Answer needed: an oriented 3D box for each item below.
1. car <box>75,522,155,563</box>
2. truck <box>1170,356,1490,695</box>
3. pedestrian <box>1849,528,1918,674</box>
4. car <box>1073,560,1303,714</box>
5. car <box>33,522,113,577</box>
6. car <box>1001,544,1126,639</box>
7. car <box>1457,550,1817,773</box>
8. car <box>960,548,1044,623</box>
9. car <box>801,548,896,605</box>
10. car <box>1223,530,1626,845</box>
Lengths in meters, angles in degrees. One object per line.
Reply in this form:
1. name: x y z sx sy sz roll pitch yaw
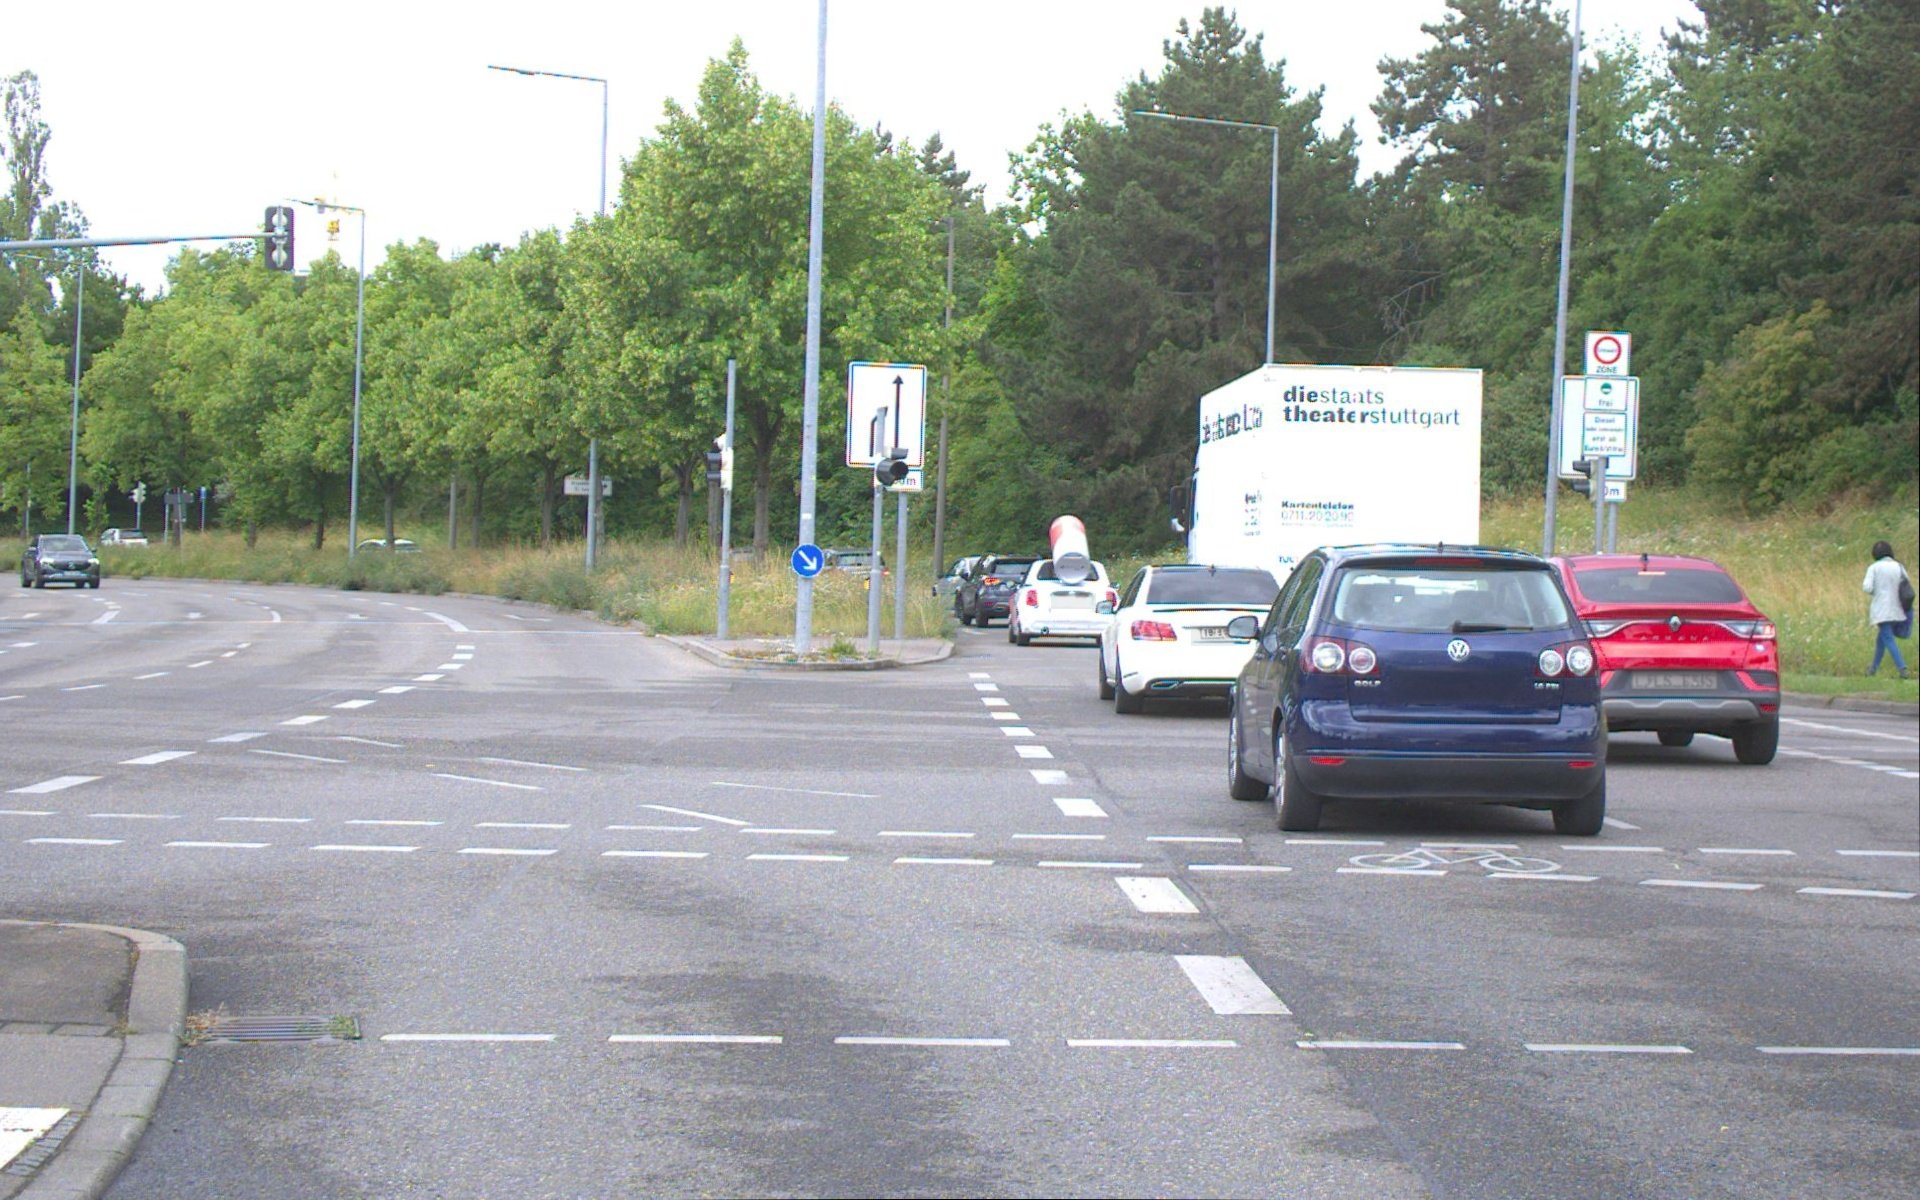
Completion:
1. car: -36.385 -2.474 148.019 1.628 1.705 3.802 0 1 -44
2. truck: 4.592 -0.984 44.896 2.802 3.890 10.183 1 1 -1
3. pedestrian: 10.588 0.010 39.425 0.644 1.656 0.713 1 0 6
4. car: 2.185 0.324 34.068 1.799 1.407 4.318 1 0 -2
5. car: -26.428 -1.511 102.385 1.794 1.582 4.001 1 0 -22
6. car: 1.670 -0.154 56.612 1.821 1.501 3.495 1 0 -2
7. car: 5.132 0.405 26.640 1.847 1.525 4.377 1 1 -1
8. car: 0.855 -0.329 71.933 1.624 1.488 3.838 1 1 -1
9. car: -3.084 -0.665 94.266 1.746 1.503 4.049 1 1 -15
10. car: 2.532 0.433 19.610 1.664 1.593 3.997 1 0 -1
